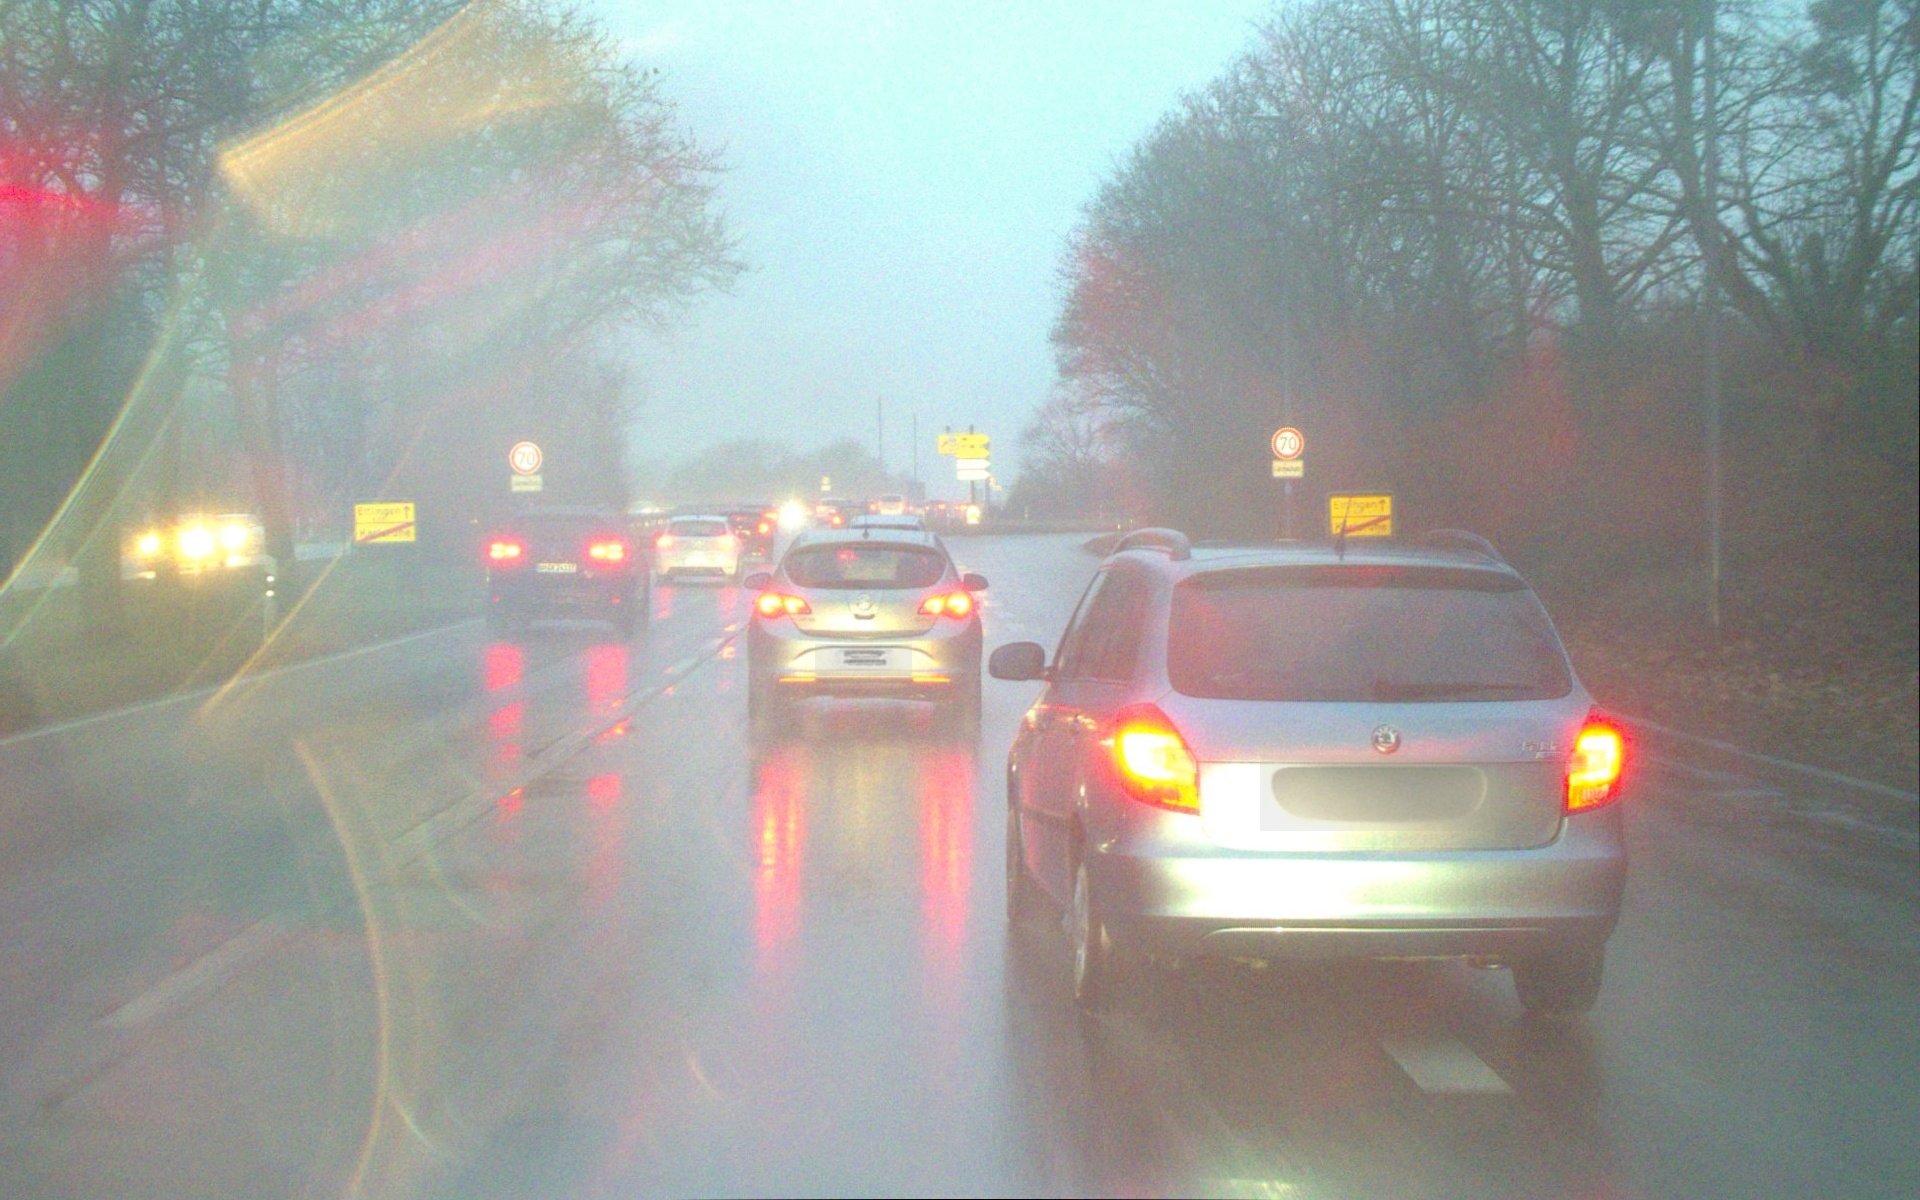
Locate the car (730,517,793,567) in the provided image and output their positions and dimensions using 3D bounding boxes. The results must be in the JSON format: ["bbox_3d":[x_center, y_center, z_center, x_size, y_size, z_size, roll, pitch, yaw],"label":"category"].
[{"bbox_3d":[-5.366,-1.568,93.340,1.505,1.334,4.000,0,1,-1],"label":"car"}]

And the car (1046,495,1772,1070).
[{"bbox_3d":[1.366,0.528,12.259,1.933,1.642,4.466,1,0,-1],"label":"car"}]

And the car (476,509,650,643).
[{"bbox_3d":[-5.112,-0.323,44.686,1.822,1.642,4.000,0,1,-1],"label":"car"}]

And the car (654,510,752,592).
[{"bbox_3d":[-5.365,-1.023,72.045,1.822,1.642,4.000,0,1,-1],"label":"car"}]

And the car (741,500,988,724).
[{"bbox_3d":[-0.741,0.083,28.005,1.822,1.642,4.466,1,0,-1],"label":"car"}]
